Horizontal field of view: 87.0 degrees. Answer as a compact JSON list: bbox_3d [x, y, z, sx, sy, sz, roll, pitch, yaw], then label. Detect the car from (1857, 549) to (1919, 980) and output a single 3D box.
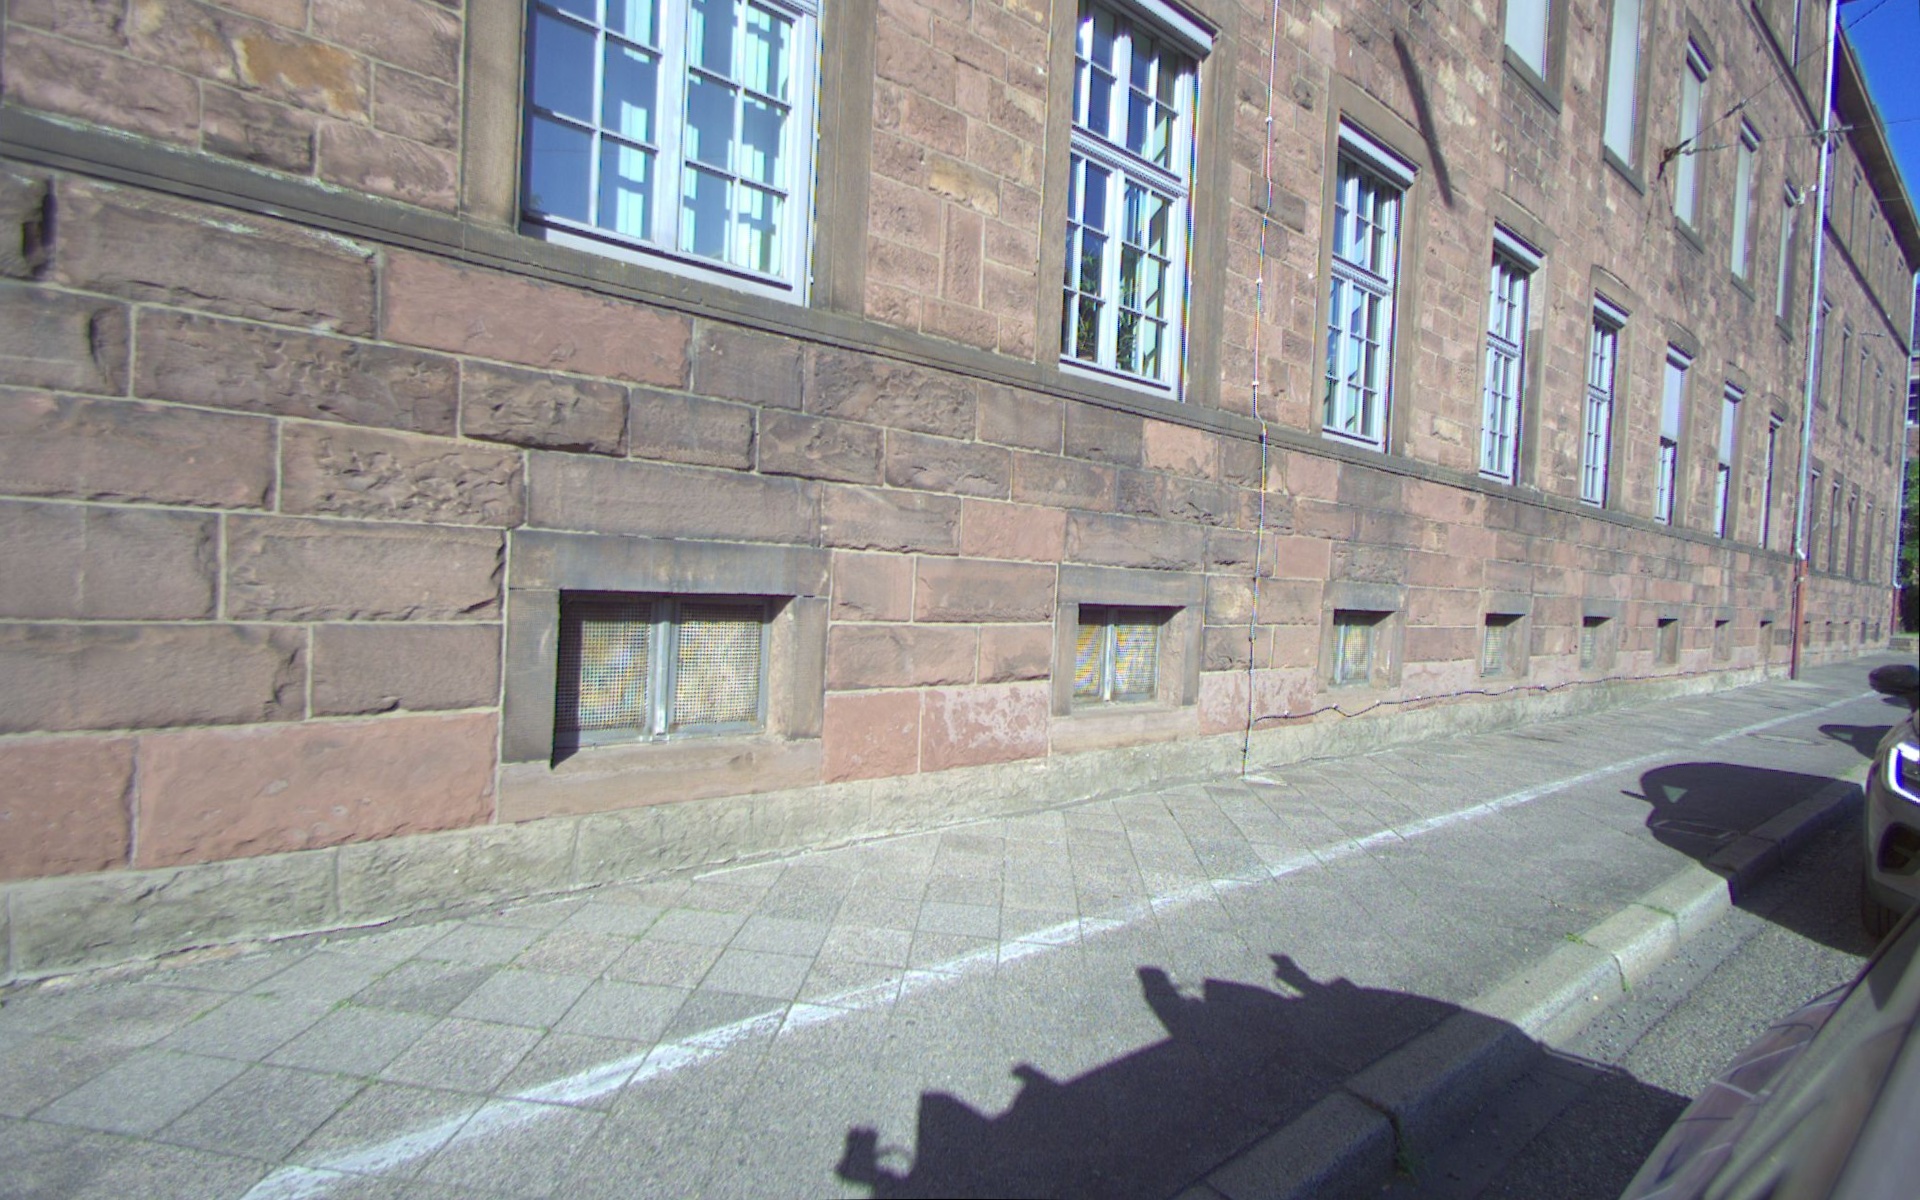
[{"bbox_3d":[5.484,0.659,4.564,3.735,1.624,1.793,1,1,-43],"label":"car"}]
